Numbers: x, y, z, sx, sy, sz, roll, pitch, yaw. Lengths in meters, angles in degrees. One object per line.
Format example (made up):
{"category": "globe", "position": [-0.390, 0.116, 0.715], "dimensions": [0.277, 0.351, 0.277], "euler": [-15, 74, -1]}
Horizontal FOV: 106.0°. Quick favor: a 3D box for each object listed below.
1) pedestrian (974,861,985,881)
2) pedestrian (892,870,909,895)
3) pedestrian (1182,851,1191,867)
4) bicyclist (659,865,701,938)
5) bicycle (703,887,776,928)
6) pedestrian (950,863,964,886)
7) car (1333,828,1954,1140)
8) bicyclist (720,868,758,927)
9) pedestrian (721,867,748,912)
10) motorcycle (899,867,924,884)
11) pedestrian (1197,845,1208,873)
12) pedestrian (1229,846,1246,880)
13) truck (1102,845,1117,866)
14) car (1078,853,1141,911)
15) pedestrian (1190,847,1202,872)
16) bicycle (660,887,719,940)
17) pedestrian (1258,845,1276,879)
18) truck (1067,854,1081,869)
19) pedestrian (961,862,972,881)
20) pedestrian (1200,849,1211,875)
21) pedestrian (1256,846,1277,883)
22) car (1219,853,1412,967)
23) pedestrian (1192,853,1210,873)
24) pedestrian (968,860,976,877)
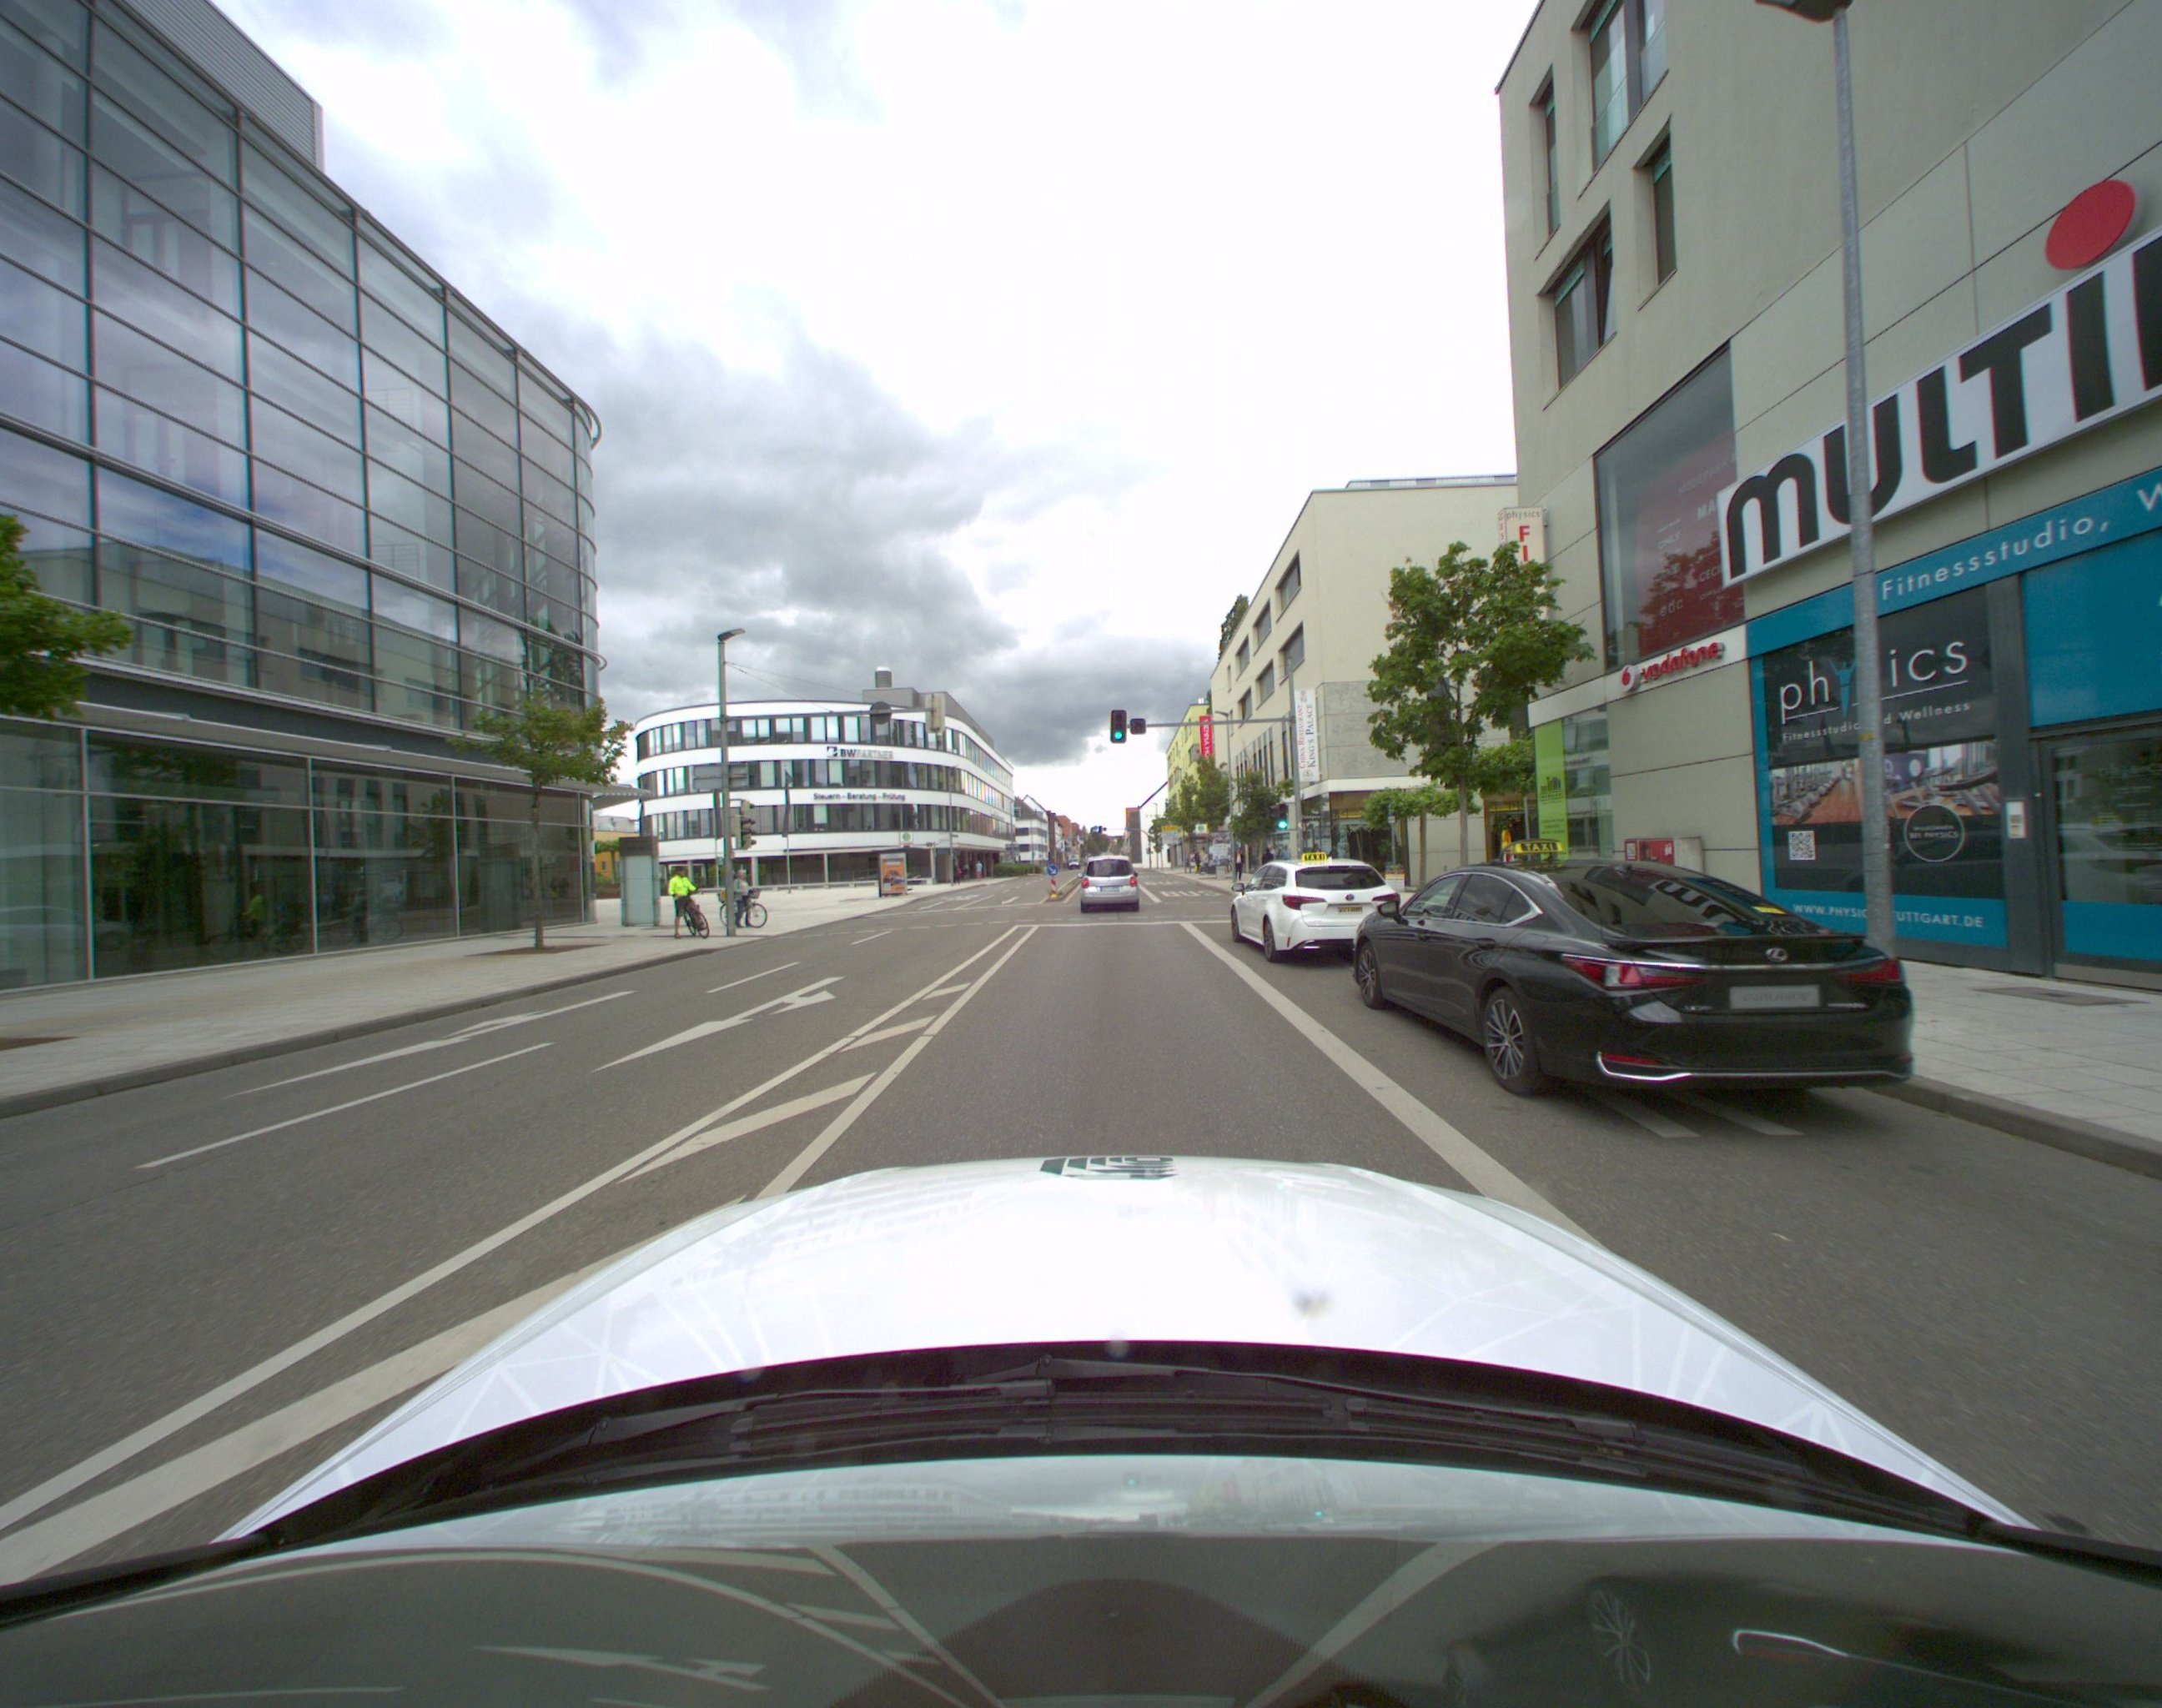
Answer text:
{"category": "pedestrian", "position": [-8.795, 1.467, 70.829], "dimensions": [0.727, 1.674, 0.932], "euler": [-1, -1, 4]}
{"category": "pedestrian", "position": [-9.453, 1.500, 42.598], "dimensions": [0.682, 1.253, 0.576], "euler": [-3, -1, 0]}
{"category": "pedestrian", "position": [10.629, 0.512, 82.246], "dimensions": [0.693, 1.593, 0.603], "euler": [-4, -1, 1]}
{"category": "bicyclist", "position": [-10.158, 1.180, 20.618], "dimensions": [0.752, 1.800, 0.764], "euler": [0, -1, -44]}
{"category": "bicycle", "position": [-9.907, 1.544, 23.641], "dimensions": [1.984, 1.130, 0.641], "euler": [0, 0, 17]}
{"category": "pedestrian", "position": [-8.948, 1.475, 58.819], "dimensions": [0.825, 1.567, 0.814], "euler": [-1, -1, 7]}
{"category": "car", "position": [3.549, 0.669, 6.474], "dimensions": [1.730, 1.542, 4.792], "euler": [-1, 0, 2]}
{"category": "bicyclist", "position": [-9.936, 1.251, 23.671], "dimensions": [0.775, 1.649, 0.641], "euler": [0, -1, 17]}
{"category": "pedestrian", "position": [-15.316, 1.565, 35.953], "dimensions": [0.907, 1.945, 0.742], "euler": [-1, -1, -37]}
{"category": "motorcycle", "position": [-13.336, 1.694, 64.148], "dimensions": [1.845, 1.333, 0.637], "euler": [-1, -1, 5]}
{"category": "pedestrian", "position": [8.015, 0.342, 53.841], "dimensions": [0.576, 1.769, 0.858], "euler": [-4, -1, 7]}
{"category": "pedestrian", "position": [7.939, 0.458, 41.294], "dimensions": [0.652, 1.669, 0.614], "euler": [-3, -1, 2]}
{"category": "truck", "position": [5.538, 0.324, 156.788], "dimensions": [2.585, 3.857, 6.852], "euler": [-2, 0, 2]}
{"category": "car", "position": [0.834, 0.778, 24.230], "dimensions": [1.700, 1.579, 4.001], "euler": [-1, 0, 2]}
{"category": "pedestrian", "position": [7.825, 0.363, 55.326], "dimensions": [0.717, 1.683, 0.734], "euler": [-4, -1, 7]}
{"category": "bicycle", "position": [-9.998, 1.490, 20.771], "dimensions": [0.752, 1.206, 2.006], "euler": [0, -1, -44]}
{"category": "pedestrian", "position": [9.420, 0.388, 41.215], "dimensions": [0.741, 1.669, 0.614], "euler": [-3, -1, 2]}
{"category": "truck", "position": [-1.470, 1.458, 165.374], "dimensions": [2.426, 2.953, 8.367], "euler": [-2, 0, 2]}
{"category": "pedestrian", "position": [-10.126, 1.523, 71.812], "dimensions": [0.727, 1.613, 0.932], "euler": [-1, -1, 4]}
{"category": "pedestrian", "position": [7.911, 0.491, 51.590], "dimensions": [0.576, 1.591, 0.734], "euler": [-4, -1, 7]}
{"category": "pedestrian", "position": [8.223, 0.476, 36.163], "dimensions": [0.737, 1.608, 0.715], "euler": [-3, -1, 2]}
{"category": "car", "position": [3.424, 0.740, 12.847], "dimensions": [1.776, 1.425, 4.515], "euler": [-2, 0, 1]}
{"category": "pedestrian", "position": [7.788, 0.600, 52.833], "dimensions": [0.940, 1.259, 0.732], "euler": [-4, -1, -1]}
{"category": "pedestrian", "position": [-11.554, 1.529, 86.644], "dimensions": [0.500, 1.730, 0.619], "euler": [-3, -1, 33]}
